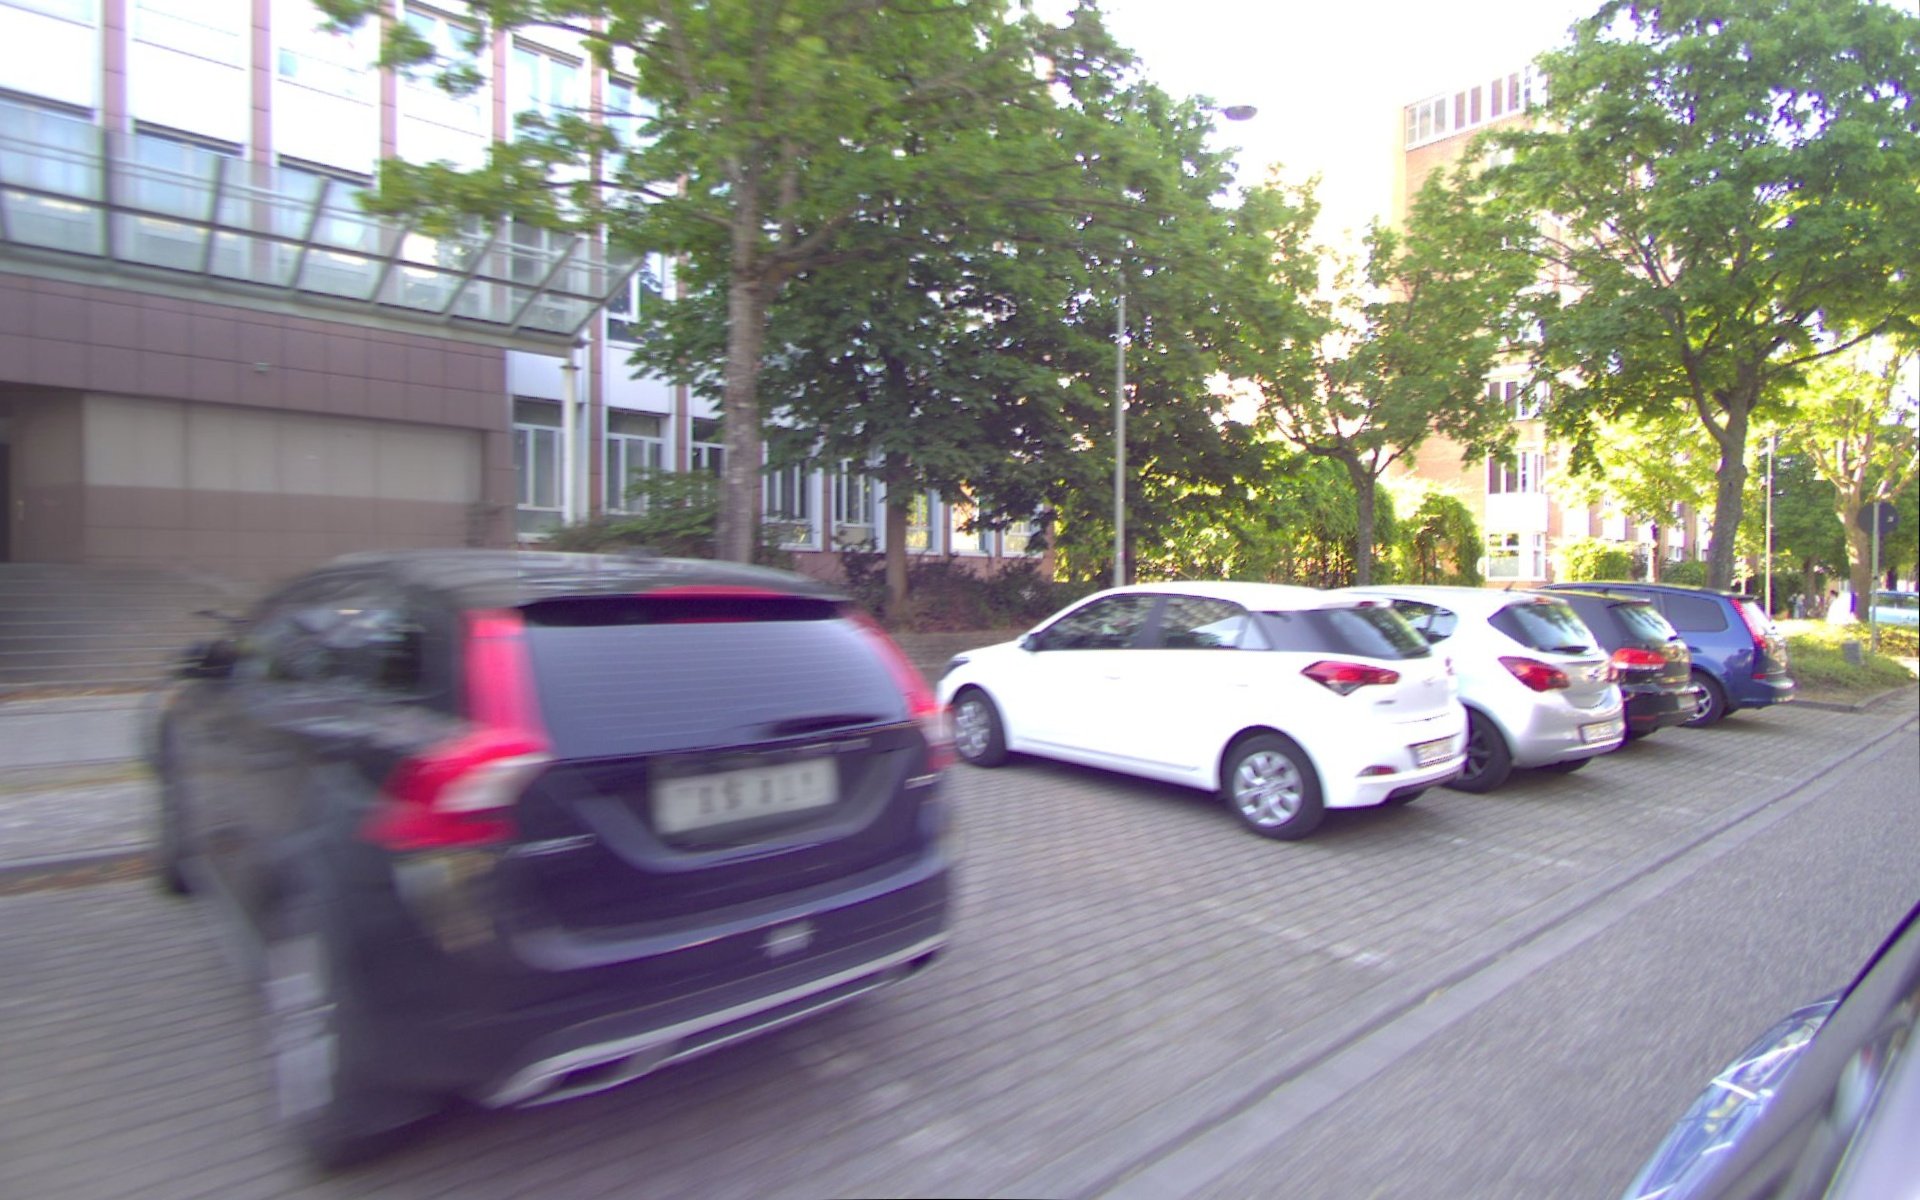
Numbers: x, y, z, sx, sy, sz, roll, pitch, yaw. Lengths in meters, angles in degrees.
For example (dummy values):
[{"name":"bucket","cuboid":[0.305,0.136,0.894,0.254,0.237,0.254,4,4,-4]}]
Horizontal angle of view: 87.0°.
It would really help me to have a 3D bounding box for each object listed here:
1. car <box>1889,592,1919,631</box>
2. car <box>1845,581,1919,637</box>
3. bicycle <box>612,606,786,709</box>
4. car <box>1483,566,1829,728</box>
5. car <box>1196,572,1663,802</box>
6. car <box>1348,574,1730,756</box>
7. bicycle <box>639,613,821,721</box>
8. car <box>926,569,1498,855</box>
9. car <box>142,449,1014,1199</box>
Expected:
[{"name":"car","cuboid":[37.952,0.447,38.231,1.918,1.490,3.996,-1,1,-38]},{"name":"car","cuboid":[30.662,0.268,31.755,1.966,1.727,4.159,-1,0,-42]},{"name":"bicycle","cuboid":[-2.452,0.529,9.568,1.563,0.928,0.301,0,0,-15]},{"name":"car","cuboid":[8.216,0.443,12.135,1.575,1.624,3.055,0,2,-37]},{"name":"car","cuboid":[3.768,0.541,8.535,1.559,1.497,3.206,0,2,-36]},{"name":"car","cuboid":[5.717,0.514,10.241,1.469,1.477,2.999,0,3,-37]},{"name":"bicycle","cuboid":[-2.062,0.593,9.130,1.563,0.928,0.301,1,-1,-21]},{"name":"car","cuboid":[1.575,0.551,7.320,1.629,1.471,3.751,0,2,-41]},{"name":"car","cuboid":[-1.806,0.482,3.796,1.656,1.569,3.975,0,1,-44]}]
